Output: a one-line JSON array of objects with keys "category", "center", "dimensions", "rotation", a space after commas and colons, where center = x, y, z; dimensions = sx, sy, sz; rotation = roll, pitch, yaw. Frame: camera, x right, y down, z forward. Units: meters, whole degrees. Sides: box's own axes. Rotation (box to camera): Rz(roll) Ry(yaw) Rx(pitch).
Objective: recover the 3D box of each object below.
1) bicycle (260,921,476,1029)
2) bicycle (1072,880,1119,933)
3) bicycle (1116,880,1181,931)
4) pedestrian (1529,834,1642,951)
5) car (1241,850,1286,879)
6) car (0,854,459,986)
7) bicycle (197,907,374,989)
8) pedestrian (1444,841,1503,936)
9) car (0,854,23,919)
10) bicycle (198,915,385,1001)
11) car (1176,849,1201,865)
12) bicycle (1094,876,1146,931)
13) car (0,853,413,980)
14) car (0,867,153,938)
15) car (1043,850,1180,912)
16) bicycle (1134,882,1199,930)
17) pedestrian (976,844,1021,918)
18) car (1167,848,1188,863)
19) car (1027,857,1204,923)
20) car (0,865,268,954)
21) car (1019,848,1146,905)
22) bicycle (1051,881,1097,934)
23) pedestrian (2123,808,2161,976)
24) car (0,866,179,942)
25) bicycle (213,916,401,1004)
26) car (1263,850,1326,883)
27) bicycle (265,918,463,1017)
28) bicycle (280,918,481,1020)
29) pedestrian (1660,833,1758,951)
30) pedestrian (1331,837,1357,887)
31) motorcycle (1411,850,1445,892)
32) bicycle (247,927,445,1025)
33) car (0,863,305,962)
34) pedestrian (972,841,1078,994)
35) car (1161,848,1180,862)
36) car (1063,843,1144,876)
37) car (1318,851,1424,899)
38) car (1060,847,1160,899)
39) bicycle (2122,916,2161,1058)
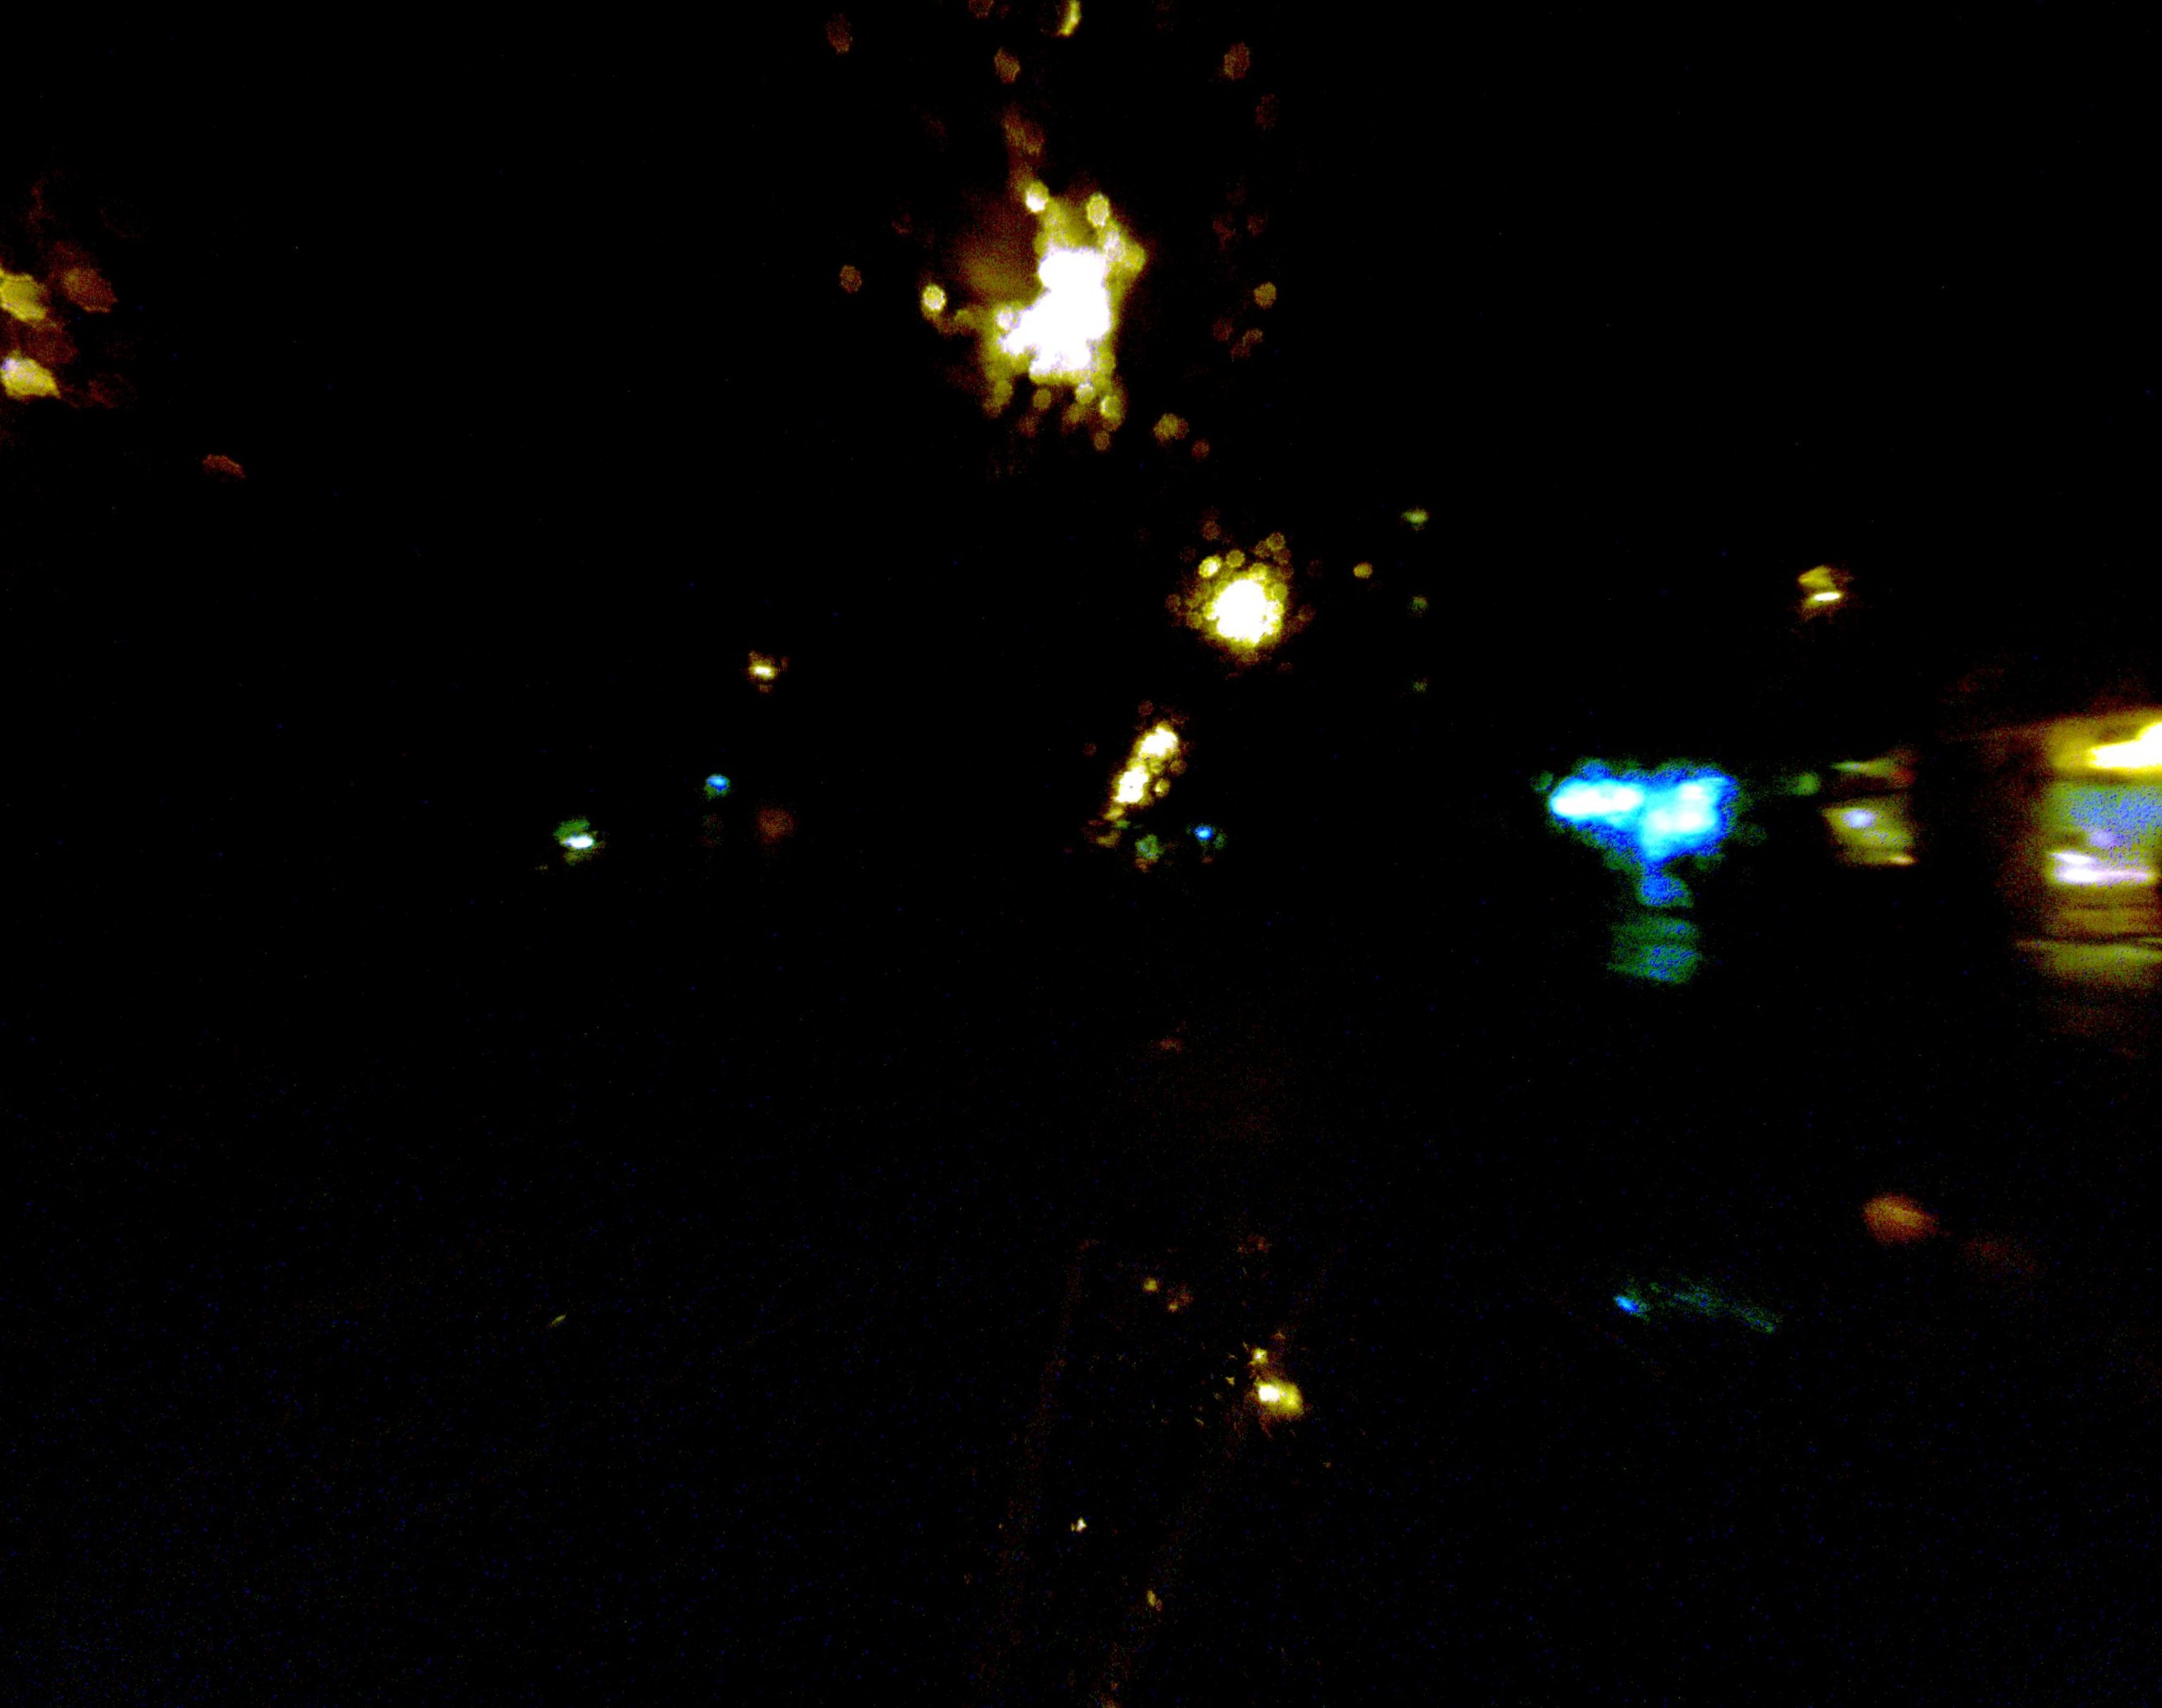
[{"category": "bicycle", "center": [-8.392, 1.374, 9.048], "dimensions": [0.454, 1.003, 1.813], "rotation": [-1, 0, 26]}, {"category": "bicycle", "center": [0.291, 1.126, 16.805], "dimensions": [0.336, 1.086, 1.643], "rotation": [0, 0, -25]}, {"category": "bicycle", "center": [1.507, 1.151, 17.213], "dimensions": [0.337, 1.021, 1.641], "rotation": [0, 2, -44]}, {"category": "pedestrian", "center": [8.505, 0.619, 12.879], "dimensions": [0.958, 1.852, 1.415], "rotation": [-1, 1, 0]}, {"category": "car", "center": [10.203, 0.528, 42.616], "dimensions": [1.720, 1.470, 3.786], "rotation": [-3, 0, 3]}, {"category": "car", "center": [-14.406, 0.942, 13.230], "dimensions": [1.995, 1.752, 5.105], "rotation": [-2, 0, 24]}, {"category": "bicycle", "center": [-11.805, 1.357, 11.356], "dimensions": [0.402, 1.003, 1.780], "rotation": [-1, 0, 26]}, {"category": "pedestrian", "center": [7.518, 0.655, 14.570], "dimensions": [0.827, 1.761, 0.600], "rotation": [-2, 1, 13]}, {"category": "car", "center": [-35.211, 1.118, 22.633], "dimensions": [1.995, 2.002, 4.006], "rotation": [-3, 1, 30]}, {"category": "bicycle", "center": [-11.324, 1.451, 10.984], "dimensions": [0.402, 1.003, 1.813], "rotation": [-1, 0, 26]}, {"category": "car", "center": [10.687, 0.318, 75.708], "dimensions": [1.851, 1.470, 3.734], "rotation": [-3, 0, 0]}, {"category": "bicycle", "center": [0.850, 1.074, 16.973], "dimensions": [0.336, 1.021, 1.641], "rotation": [-2, 4, -29]}, {"category": "car", "center": [-16.535, 0.997, 14.292], "dimensions": [1.995, 1.879, 5.556], "rotation": [-2, 0, 24]}, {"category": "car", "center": [-28.978, 1.336, 20.560], "dimensions": [1.995, 1.752, 4.470], "rotation": [-2, 0, 24]}, {"category": "car", "center": [0.933, 0.763, 22.691], "dimensions": [3.747, 1.702, 1.767], "rotation": [0, 0, -34]}, {"category": "bicycle", "center": [1.957, 1.185, 17.606], "dimensions": [1.641, 1.020, 0.337], "rotation": [-1, 0, 44]}, {"category": "pedestrian", "center": [-2.076, 0.657, 19.233], "dimensions": [0.789, 1.807, 0.811], "rotation": [0, 3, 25]}, {"category": "car", "center": [11.044, 0.119, 87.335], "dimensions": [1.851, 1.571, 3.734], "rotation": [-3, 0, 0]}, {"category": "car", "center": [0.922, 0.868, 19.750], "dimensions": [4.269, 1.564, 1.768], "rotation": [0, 0, -28]}, {"category": "car", "center": [-22.745, 1.216, 17.882], "dimensions": [1.995, 1.752, 4.470], "rotation": [-2, 0, 24]}, {"category": "car", "center": [0.081, 0.689, 24.703], "dimensions": [3.800, 1.702, 1.744], "rotation": [0, 0, -34]}, {"category": "bicycle", "center": [-0.182, 1.143, 16.533], "dimensions": [0.336, 1.020, 1.642], "rotation": [0, 1, -25]}, {"category": "pedestrian", "center": [12.607, 0.427, 8.654], "dimensions": [0.653, 1.898, 0.630], "rotation": [-1, 0, 28]}, {"category": "car", "center": [-26.967, 1.291, 19.512], "dimensions": [1.995, 1.752, 4.470], "rotation": [-2, 0, 24]}, {"category": "bicycle", "center": [-10.823, 1.442, 10.716], "dimensions": [0.402, 1.003, 1.813], "rotation": [-1, 0, 26]}, {"category": "car", "center": [10.337, 0.557, 37.147], "dimensions": [1.721, 1.470, 4.158], "rotation": [-2, 0, -2]}, {"category": "bicycle", "center": [-9.090, 1.400, 9.736], "dimensions": [0.378, 1.003, 1.813], "rotation": [-1, 0, 26]}, {"category": "bicycle", "center": [-8.693, 1.382, 9.533], "dimensions": [0.402, 1.003, 1.813], "rotation": [-1, 0, 26]}, {"category": "pedestrian", "center": [10.226, 0.591, 12.416], "dimensions": [0.676, 1.822, 1.078], "rotation": [-3, 1, 3]}, {"category": "pedestrian", "center": [12.177, 0.366, 35.179], "dimensions": [0.801, 2.228, 1.116], "rotation": [-1, 1, 0]}, {"category": "motorcycle", "center": [12.711, 0.596, 27.872], "dimensions": [0.538, 1.462, 1.457], "rotation": [-3, 1, 0]}, {"category": "bicycle", "center": [-9.495, 1.534, 9.913], "dimensions": [0.402, 1.003, 1.813], "rotation": [-1, 0, 26]}, {"category": "car", "center": [-20.498, 1.165, 16.603], "dimensions": [1.995, 1.752, 4.470], "rotation": [-2, 0, 24]}, {"category": "pedestrian", "center": [-0.709, 0.765, 9.742], "dimensions": [0.876, 1.823, 0.986], "rotation": [0, 1, 37]}, {"category": "car", "center": [11.067, 0.106, 93.728], "dimensions": [1.851, 1.571, 3.734], "rotation": [-3, 0, 0]}, {"category": "car", "center": [1.436, 0.307, 48.115], "dimensions": [4.718, 1.969, 1.975], "rotation": [-2, 1, -28]}, {"category": "car", "center": [10.068, 0.669, 26.843], "dimensions": [1.851, 1.470, 5.030], "rotation": [-2, 0, 1]}, {"category": "car", "center": [1.207, 0.732, 30.982], "dimensions": [3.747, 2.017, 1.717], "rotation": [0, 0, -34]}, {"category": "bicycle", "center": [8.871, 1.034, 5.280], "dimensions": [0.715, 1.053, 1.799], "rotation": [-1, 0, -18]}]
